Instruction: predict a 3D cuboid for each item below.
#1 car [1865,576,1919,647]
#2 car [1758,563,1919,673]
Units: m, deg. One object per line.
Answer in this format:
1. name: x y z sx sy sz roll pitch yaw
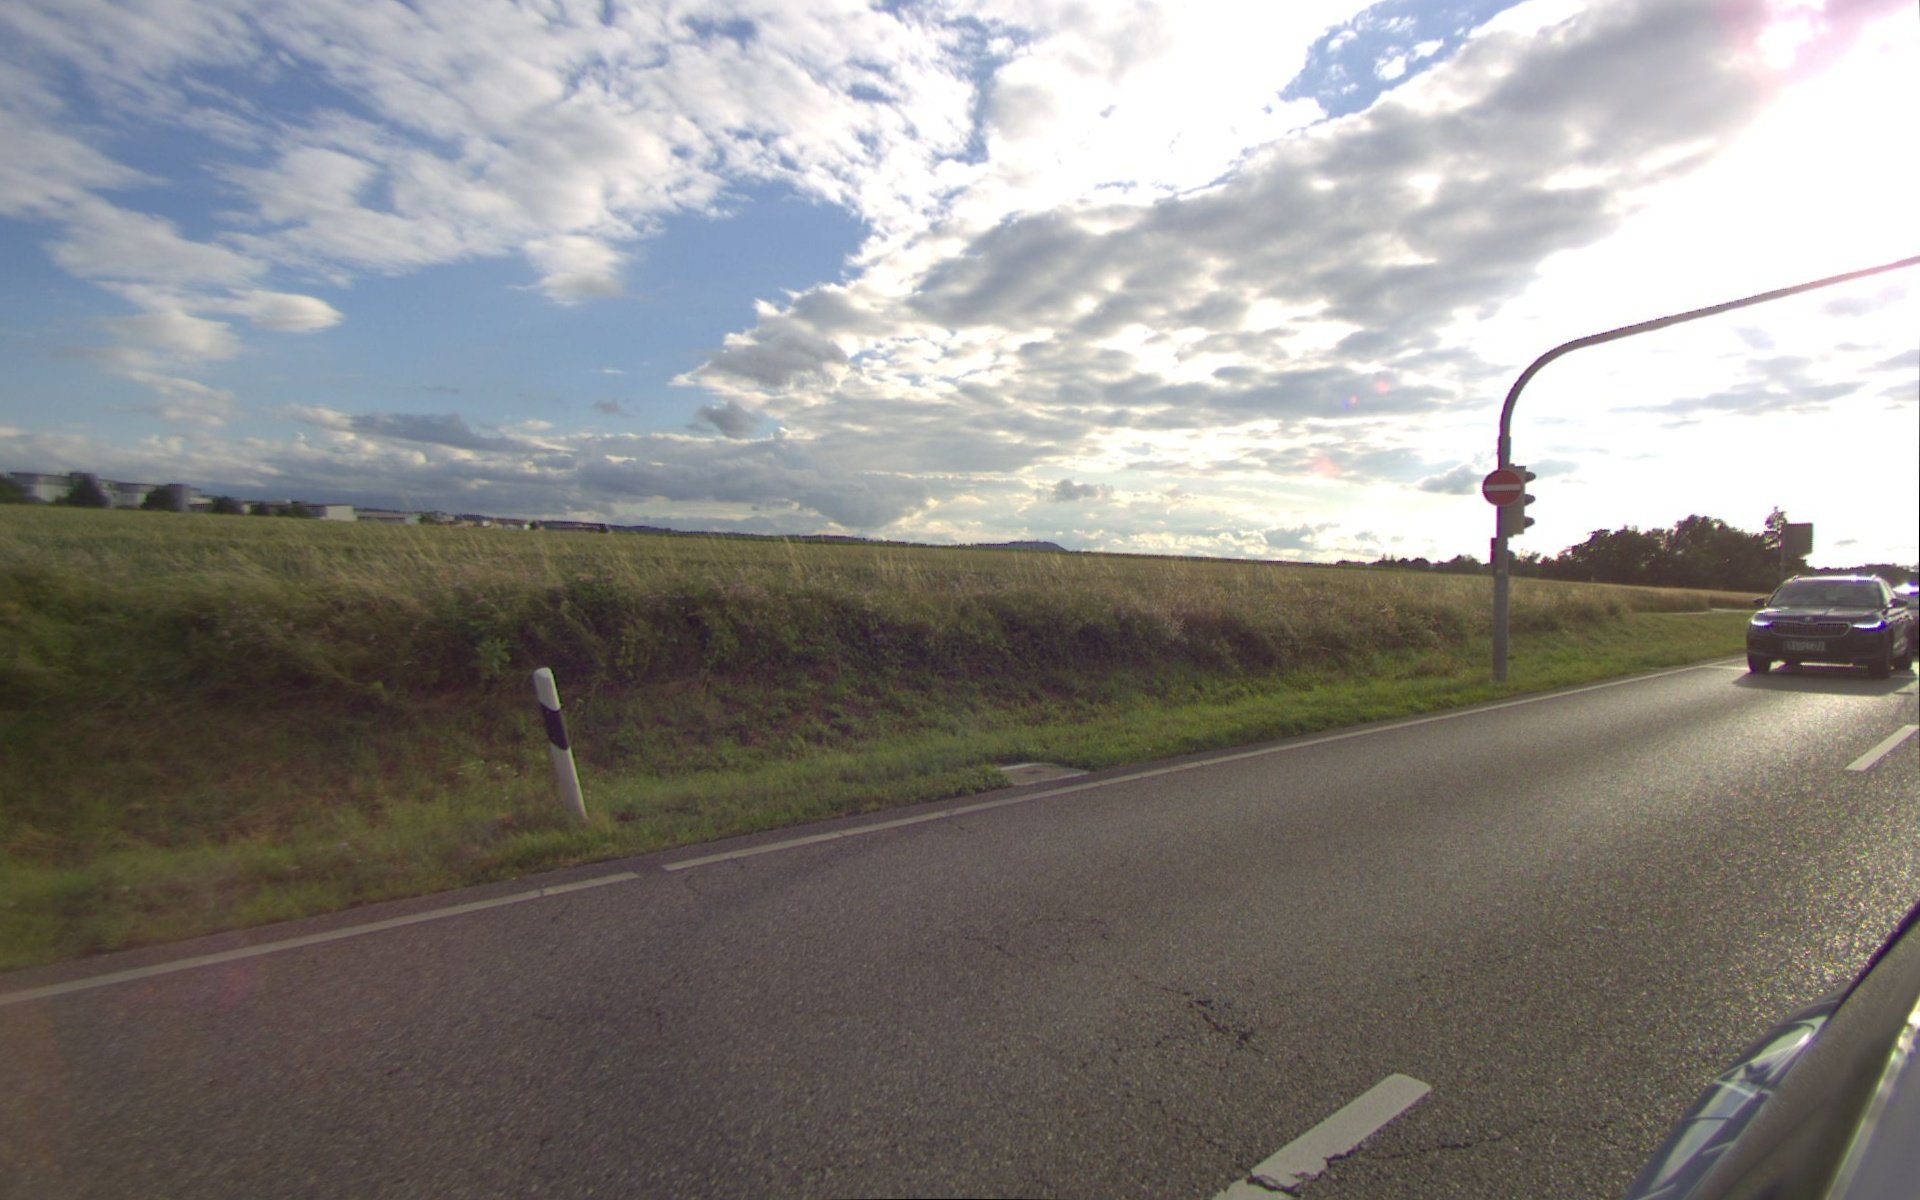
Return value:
1. car: 21.717 0.237 22.619 3.796 1.494 1.668 0 0 -40
2. car: 15.490 0.259 17.645 4.342 1.689 1.722 0 0 -41
